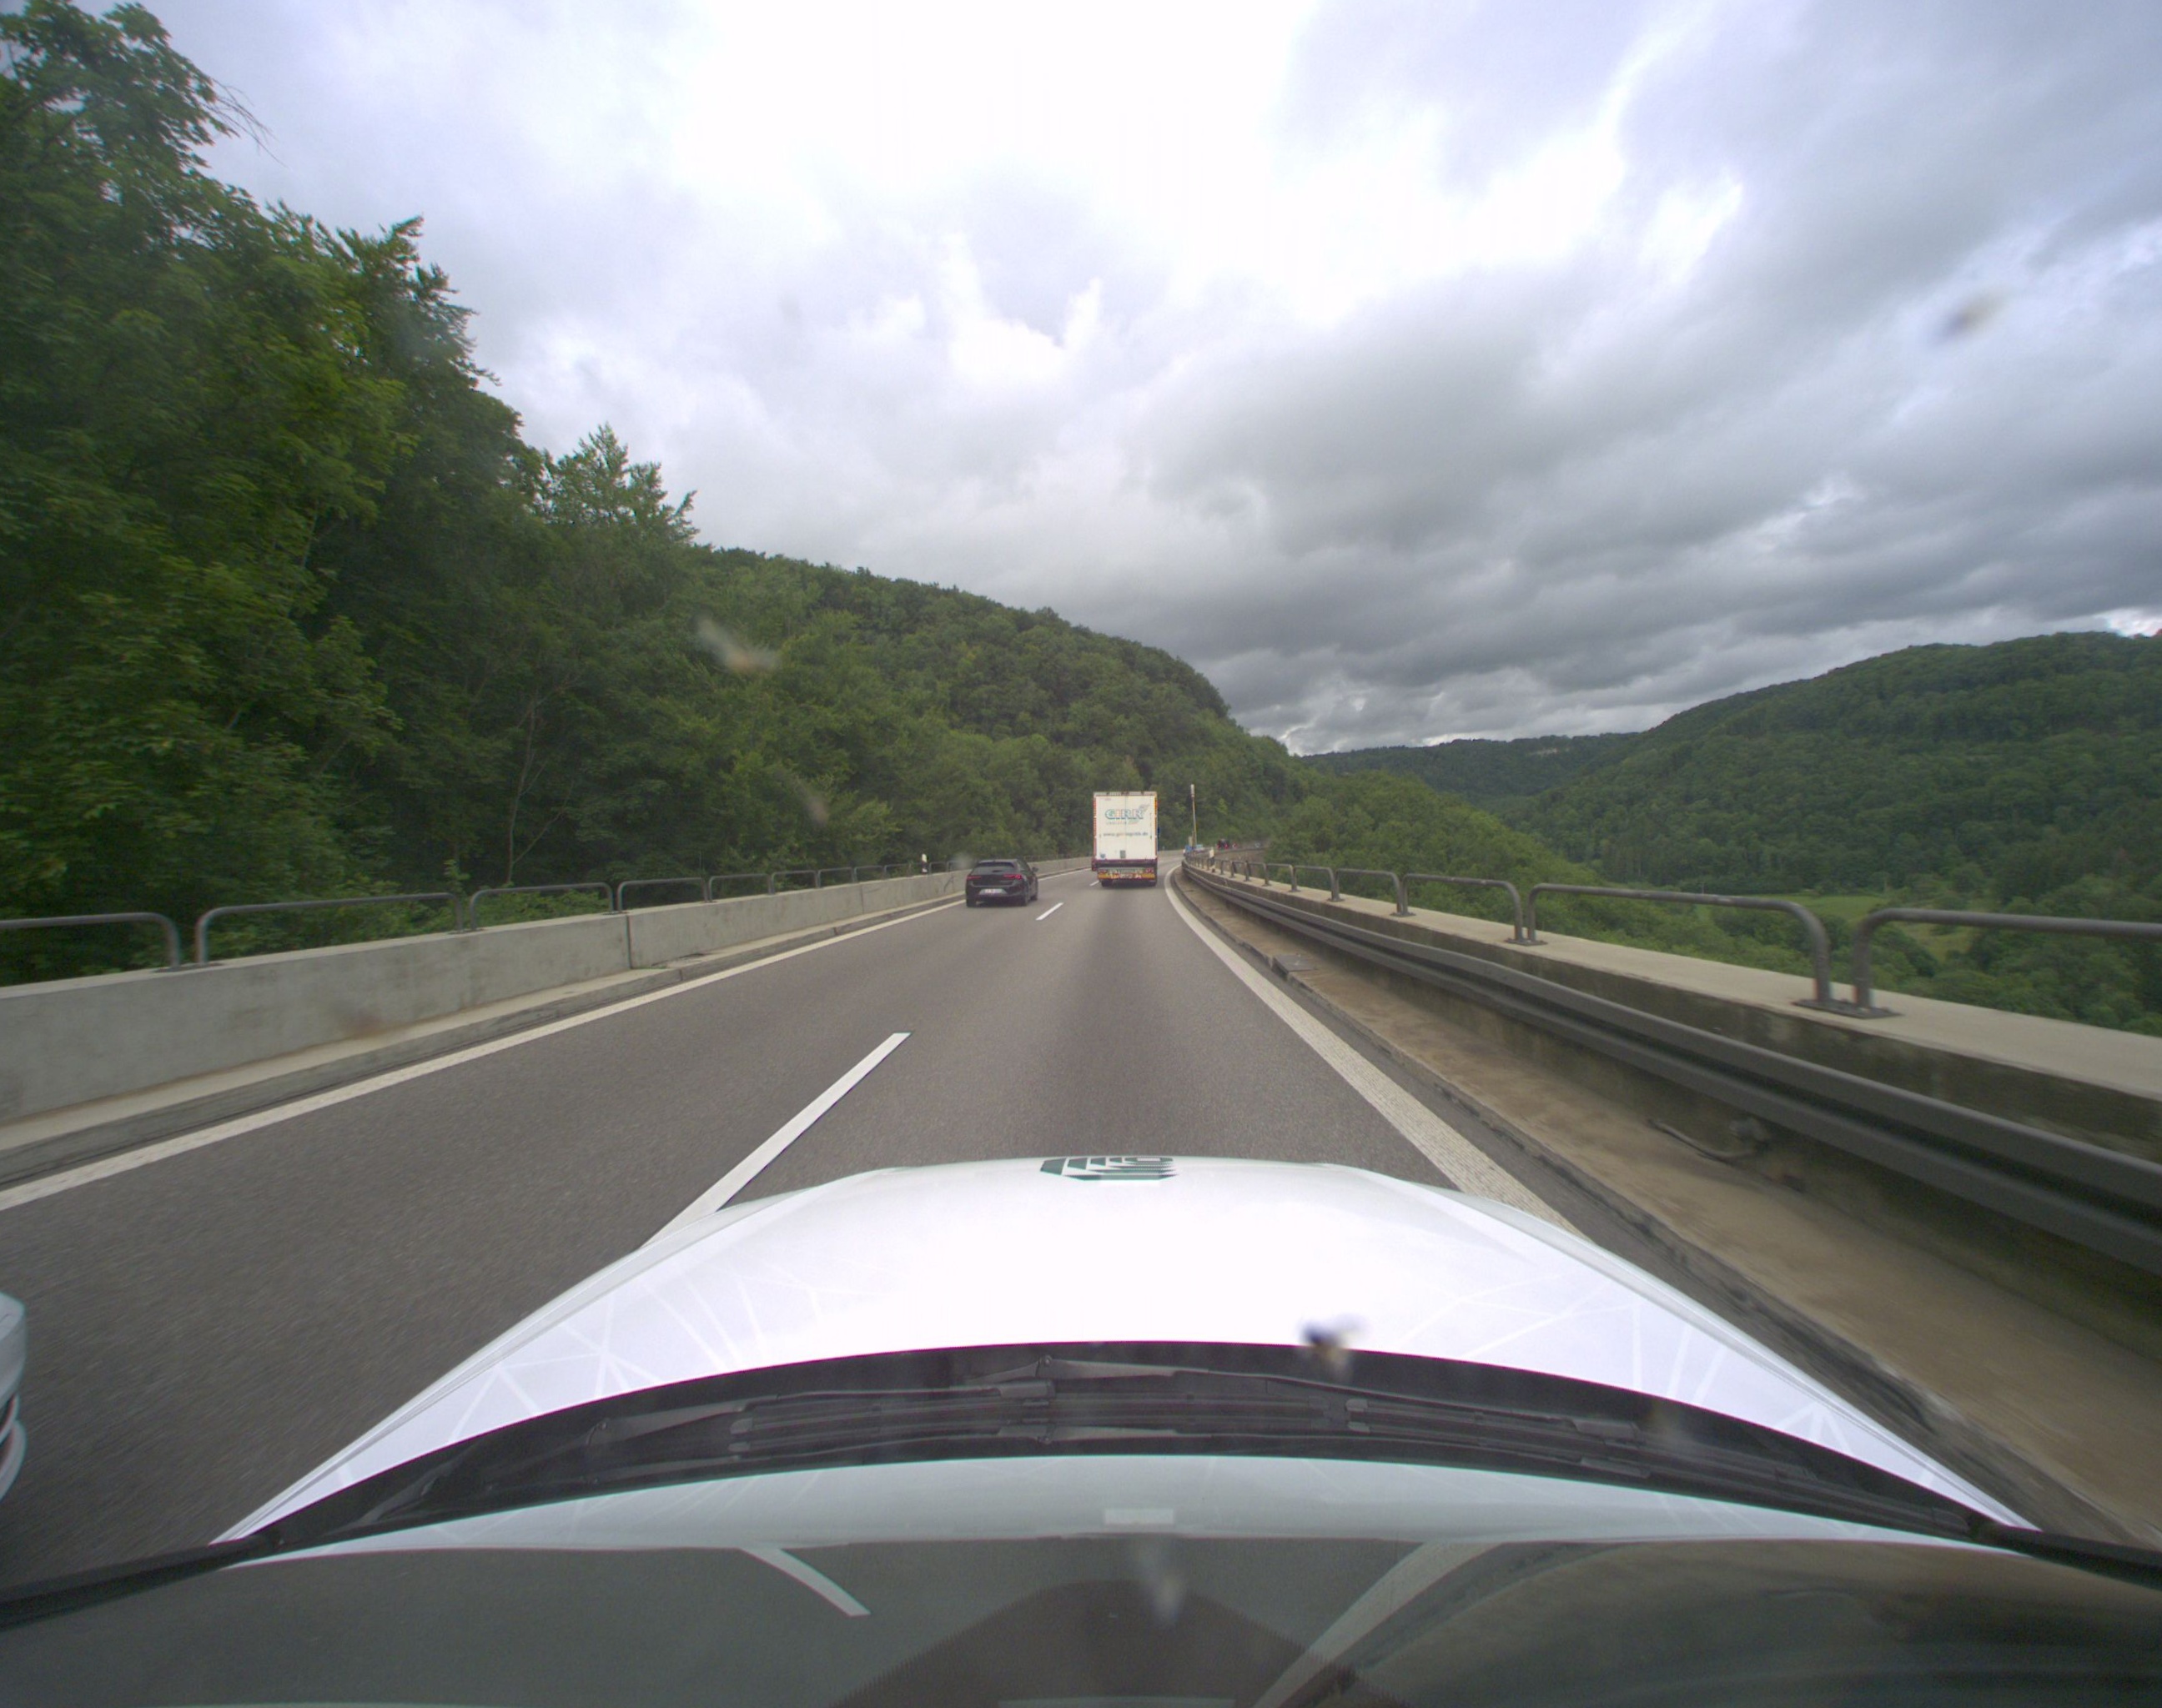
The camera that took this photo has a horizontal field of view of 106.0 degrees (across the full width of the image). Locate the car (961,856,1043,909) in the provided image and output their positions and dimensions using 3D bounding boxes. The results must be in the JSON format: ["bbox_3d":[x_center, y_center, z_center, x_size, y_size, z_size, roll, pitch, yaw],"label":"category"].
[{"bbox_3d":[-2.338,0.813,25.226,1.765,1.461,4.586,-1,0,4],"label":"car"}]

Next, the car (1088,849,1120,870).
[{"bbox_3d":[1.773,0.405,61.307,1.873,1.510,4.428,-2,-1,7],"label":"car"}]

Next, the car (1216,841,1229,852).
[{"bbox_3d":[29.453,-1.528,169.337,1.978,2.014,4.017,-1,-1,17],"label":"car"}]

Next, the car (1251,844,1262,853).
[{"bbox_3d":[40.927,-1.278,189.883,1.977,1.794,4.020,-1,-1,20],"label":"car"}]

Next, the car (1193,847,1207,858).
[{"bbox_3d":[21.304,-0.297,145.648,1.978,1.794,4.017,-1,-1,16],"label":"car"}]

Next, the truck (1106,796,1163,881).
[{"bbox_3d":[3.069,-0.797,45.204,2.799,4.302,6.269,-2,-1,6],"label":"truck"}]

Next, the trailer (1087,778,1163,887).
[{"bbox_3d":[2.367,-0.821,38.689,2.799,4.302,12.265,-2,-1,6],"label":"trailer"}]
